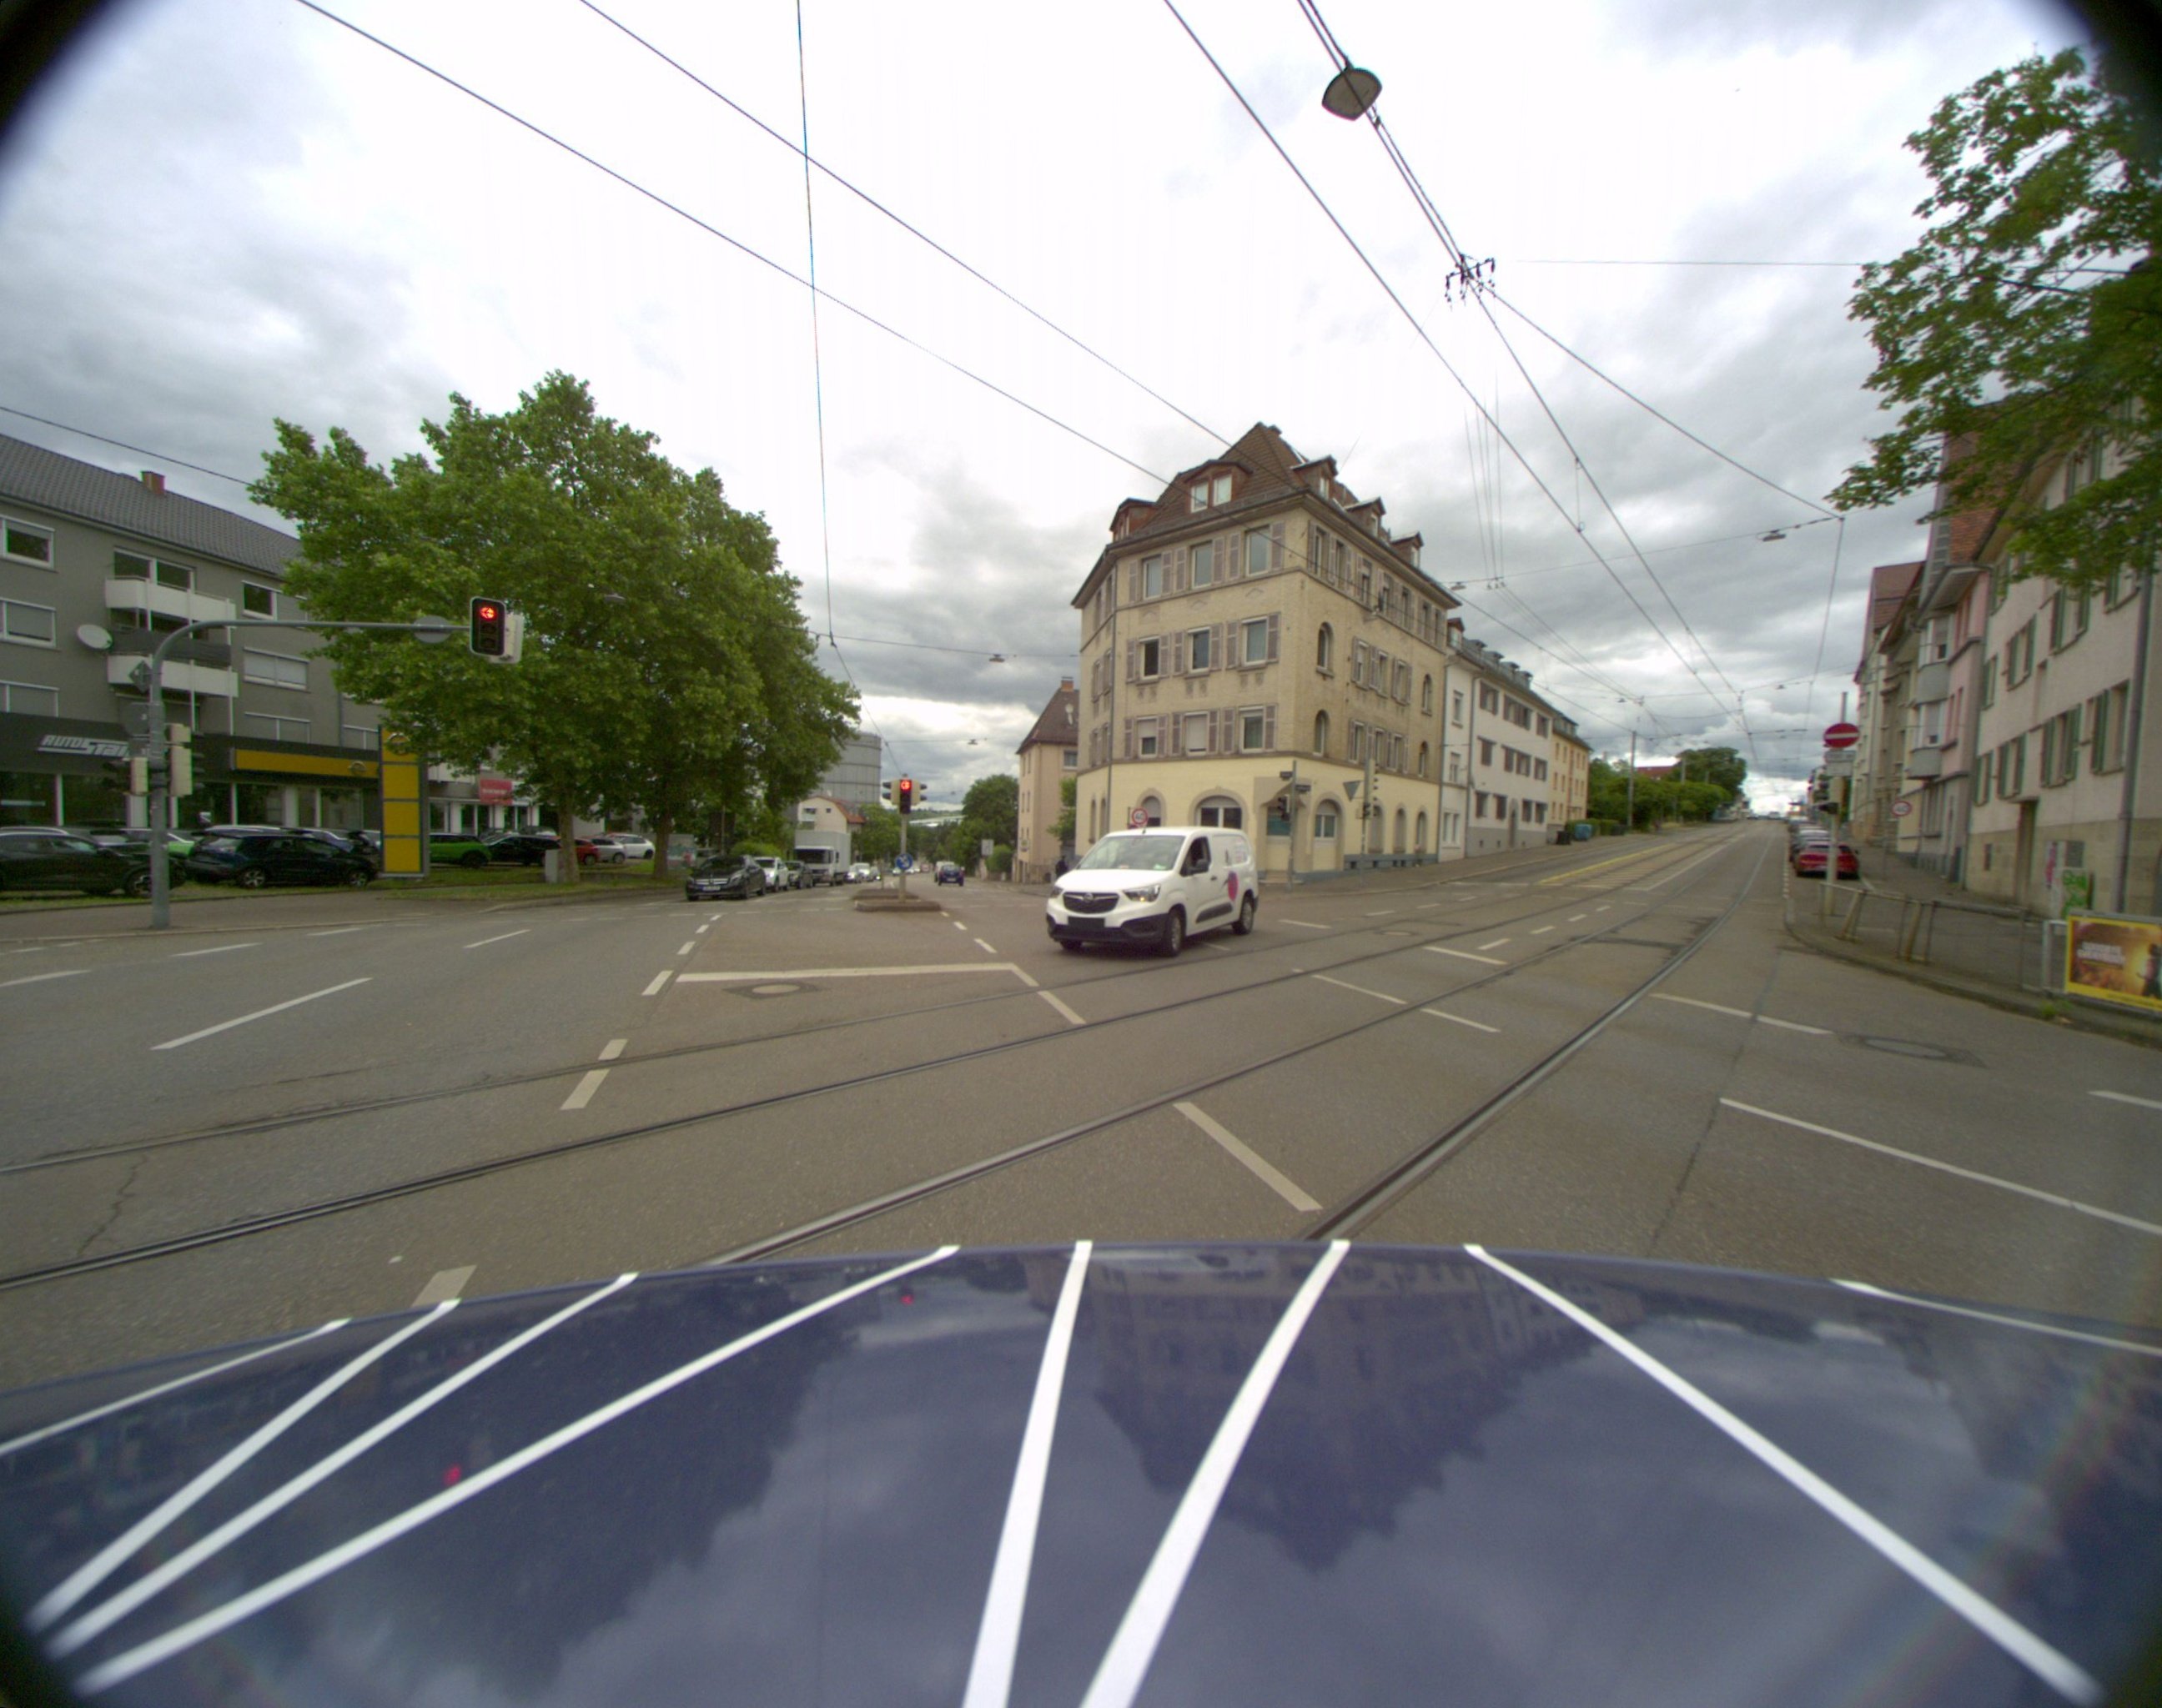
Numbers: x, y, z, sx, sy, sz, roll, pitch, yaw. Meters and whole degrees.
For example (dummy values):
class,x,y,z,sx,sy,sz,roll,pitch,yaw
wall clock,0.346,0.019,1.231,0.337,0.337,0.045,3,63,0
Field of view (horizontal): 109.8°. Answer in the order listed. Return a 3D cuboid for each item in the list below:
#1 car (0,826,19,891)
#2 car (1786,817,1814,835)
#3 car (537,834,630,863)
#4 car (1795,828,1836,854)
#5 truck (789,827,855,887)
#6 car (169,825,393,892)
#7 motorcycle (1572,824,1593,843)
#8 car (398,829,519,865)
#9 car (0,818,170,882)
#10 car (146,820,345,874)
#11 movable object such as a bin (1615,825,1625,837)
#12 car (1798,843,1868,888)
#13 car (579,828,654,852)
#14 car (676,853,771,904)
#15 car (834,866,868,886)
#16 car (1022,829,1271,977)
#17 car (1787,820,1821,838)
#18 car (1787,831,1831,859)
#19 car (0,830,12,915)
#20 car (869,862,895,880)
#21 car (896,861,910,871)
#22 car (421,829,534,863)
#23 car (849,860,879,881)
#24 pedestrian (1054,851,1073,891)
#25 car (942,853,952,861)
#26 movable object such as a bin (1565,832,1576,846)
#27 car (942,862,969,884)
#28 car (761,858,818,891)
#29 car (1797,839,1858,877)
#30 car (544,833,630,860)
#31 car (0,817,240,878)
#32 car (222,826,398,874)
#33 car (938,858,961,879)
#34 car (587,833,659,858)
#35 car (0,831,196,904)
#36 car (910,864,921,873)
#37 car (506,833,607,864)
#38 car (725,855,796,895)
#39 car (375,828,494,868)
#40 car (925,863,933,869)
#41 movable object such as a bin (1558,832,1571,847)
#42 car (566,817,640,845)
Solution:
class,x,y,z,sx,sy,sz,roll,pitch,yaw
car,-27.594,0.071,17.180,4.001,1.541,1.861,2,1,-10
car,67.386,-2.641,71.247,1.738,1.518,3.959,6,7,41
car,-28.388,-0.295,43.486,1.857,1.496,4.009,2,1,34
car,48.356,-0.893,50.091,1.739,1.559,4.150,3,5,42
truck,-16.263,0.098,48.270,2.774,3.482,8.161,0,1,-11
car,-23.664,0.168,22.731,1.826,1.598,4.174,7,0,11
motorcycle,39.944,-1.647,60.519,1.940,1.383,0.729,-2,9,-40
car,-28.141,-0.310,34.423,1.750,1.496,4.009,3,1,43
car,-26.975,-0.128,19.668,4.003,1.541,1.860,2,1,-16
car,-26.865,-0.221,24.587,4.001,1.541,1.861,2,1,-10
movable object such as a bin,51.754,-2.217,72.936,0.668,1.054,0.540,3,4,43
car,30.589,0.393,31.005,1.784,1.431,4.269,6,7,43
car,-31.769,-0.936,52.090,1.858,1.496,4.008,2,1,28
car,-11.961,0.764,25.732,2.001,1.517,4.252,0,1,-12
car,-17.275,1.629,57.265,1.920,1.291,4.404,0,1,-10
car,1.257,0.597,11.876,1.884,1.827,4.686,1,1,33
car,64.158,-2.259,67.502,1.738,1.451,3.958,6,7,39
car,43.831,-0.581,45.794,1.738,1.503,3.807,4,6,43
car,-21.818,0.252,12.684,4.264,1.568,1.826,3,-1,-20
car,-19.777,1.691,75.646,2.000,1.620,4.405,0,1,-9
car,-30.155,2.034,128.949,2.000,1.590,3.996,-1,0,-9
car,-28.838,-0.380,36.401,1.857,1.496,4.009,3,1,43
car,-18.608,1.364,65.278,2.000,1.620,4.404,0,1,-9
pedestrian,-0.876,0.848,38.047,0.747,1.925,0.902,-2,1,-11
car,-28.171,0.544,160.273,2.000,1.590,3.996,-1,0,-9
movable object such as a bin,35.392,-1.090,54.970,0.563,1.004,0.499,7,7,34
car,-8.652,1.289,52.665,1.760,1.439,3.748,0,1,-9
car,-14.554,0.992,38.123,2.001,1.457,4.403,0,1,-12
car,34.339,0.137,35.054,1.784,1.403,4.249,6,7,43
car,-29.803,-0.425,45.883,1.857,1.496,4.009,3,1,43
car,-27.289,-0.187,21.732,4.001,1.541,1.861,2,1,-10
car,-27.243,-0.131,27.006,4.002,1.541,1.860,2,1,-15
car,-12.470,1.336,71.717,1.872,1.872,4.280,3,0,-12
car,-29.834,-0.550,49.597,1.787,1.496,3.624,2,1,26
car,-22.879,0.278,16.716,1.826,1.468,4.005,2,-1,12
car,-33.441,2.929,153.822,2.000,1.590,3.996,-1,0,-9
car,-27.763,-0.279,40.349,1.857,1.496,4.008,2,1,32
car,-13.495,0.827,32.251,2.001,1.517,4.252,0,1,-12
car,-27.170,-0.240,32.010,1.616,1.544,3.619,3,1,41
car,-45.797,3.680,228.945,2.000,1.590,3.996,-1,0,-9
movable object such as a bin,34.618,-1.059,54.393,0.636,1.004,0.604,8,8,43
car,-33.654,-1.572,53.538,1.857,1.812,4.009,3,1,43
